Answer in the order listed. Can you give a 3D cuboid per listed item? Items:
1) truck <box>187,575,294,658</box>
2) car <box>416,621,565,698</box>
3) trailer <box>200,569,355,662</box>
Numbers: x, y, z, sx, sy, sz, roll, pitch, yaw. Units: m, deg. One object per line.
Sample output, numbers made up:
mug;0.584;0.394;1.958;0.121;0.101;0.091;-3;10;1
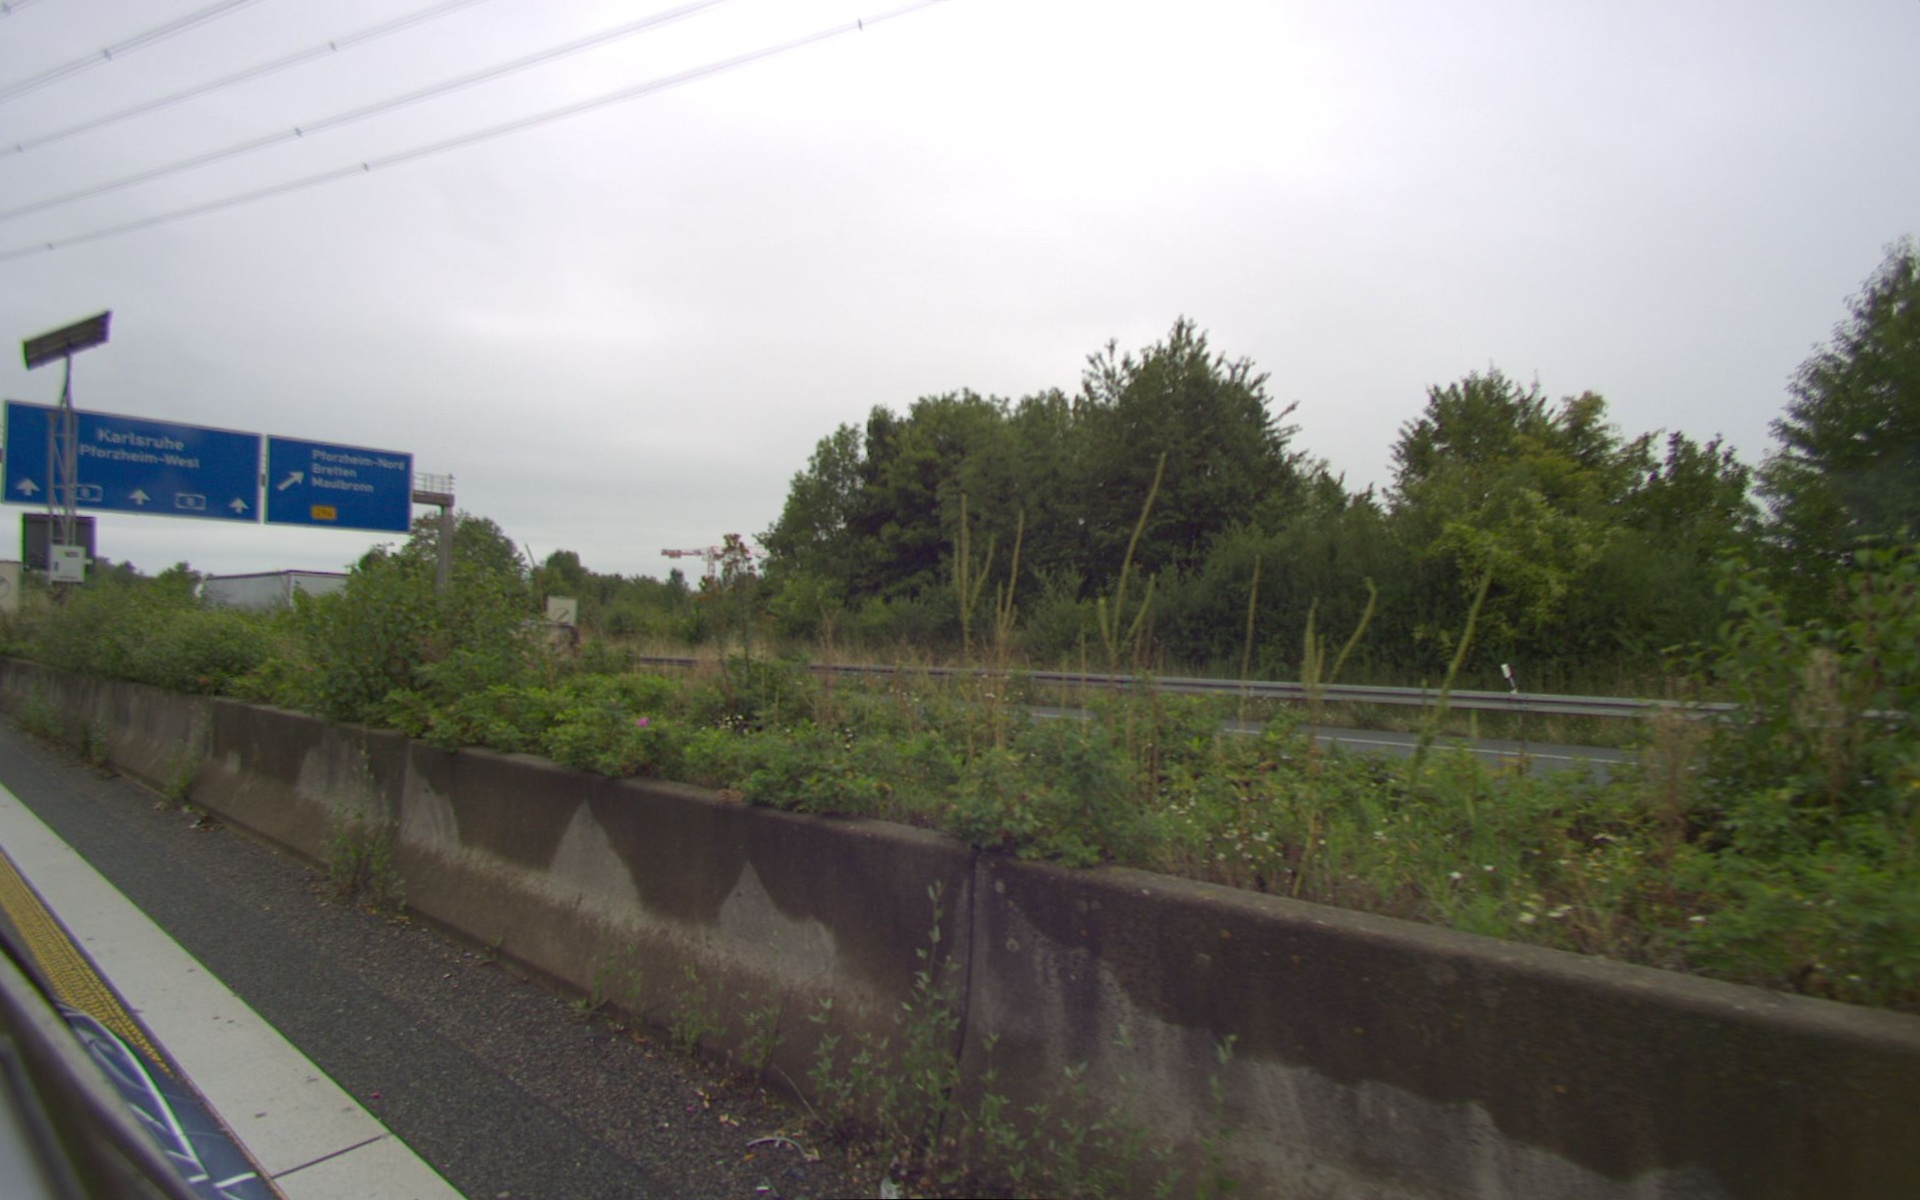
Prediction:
truck;-38.254;0.927;53.694;7.228;4.054;2.757;-1;-4;40
car;-10.931;1.309;23.459;3.998;1.575;1.671;-1;0;41
trailer;-34.027;0.845;50.094;13.242;4.054;2.757;-1;-4;41
